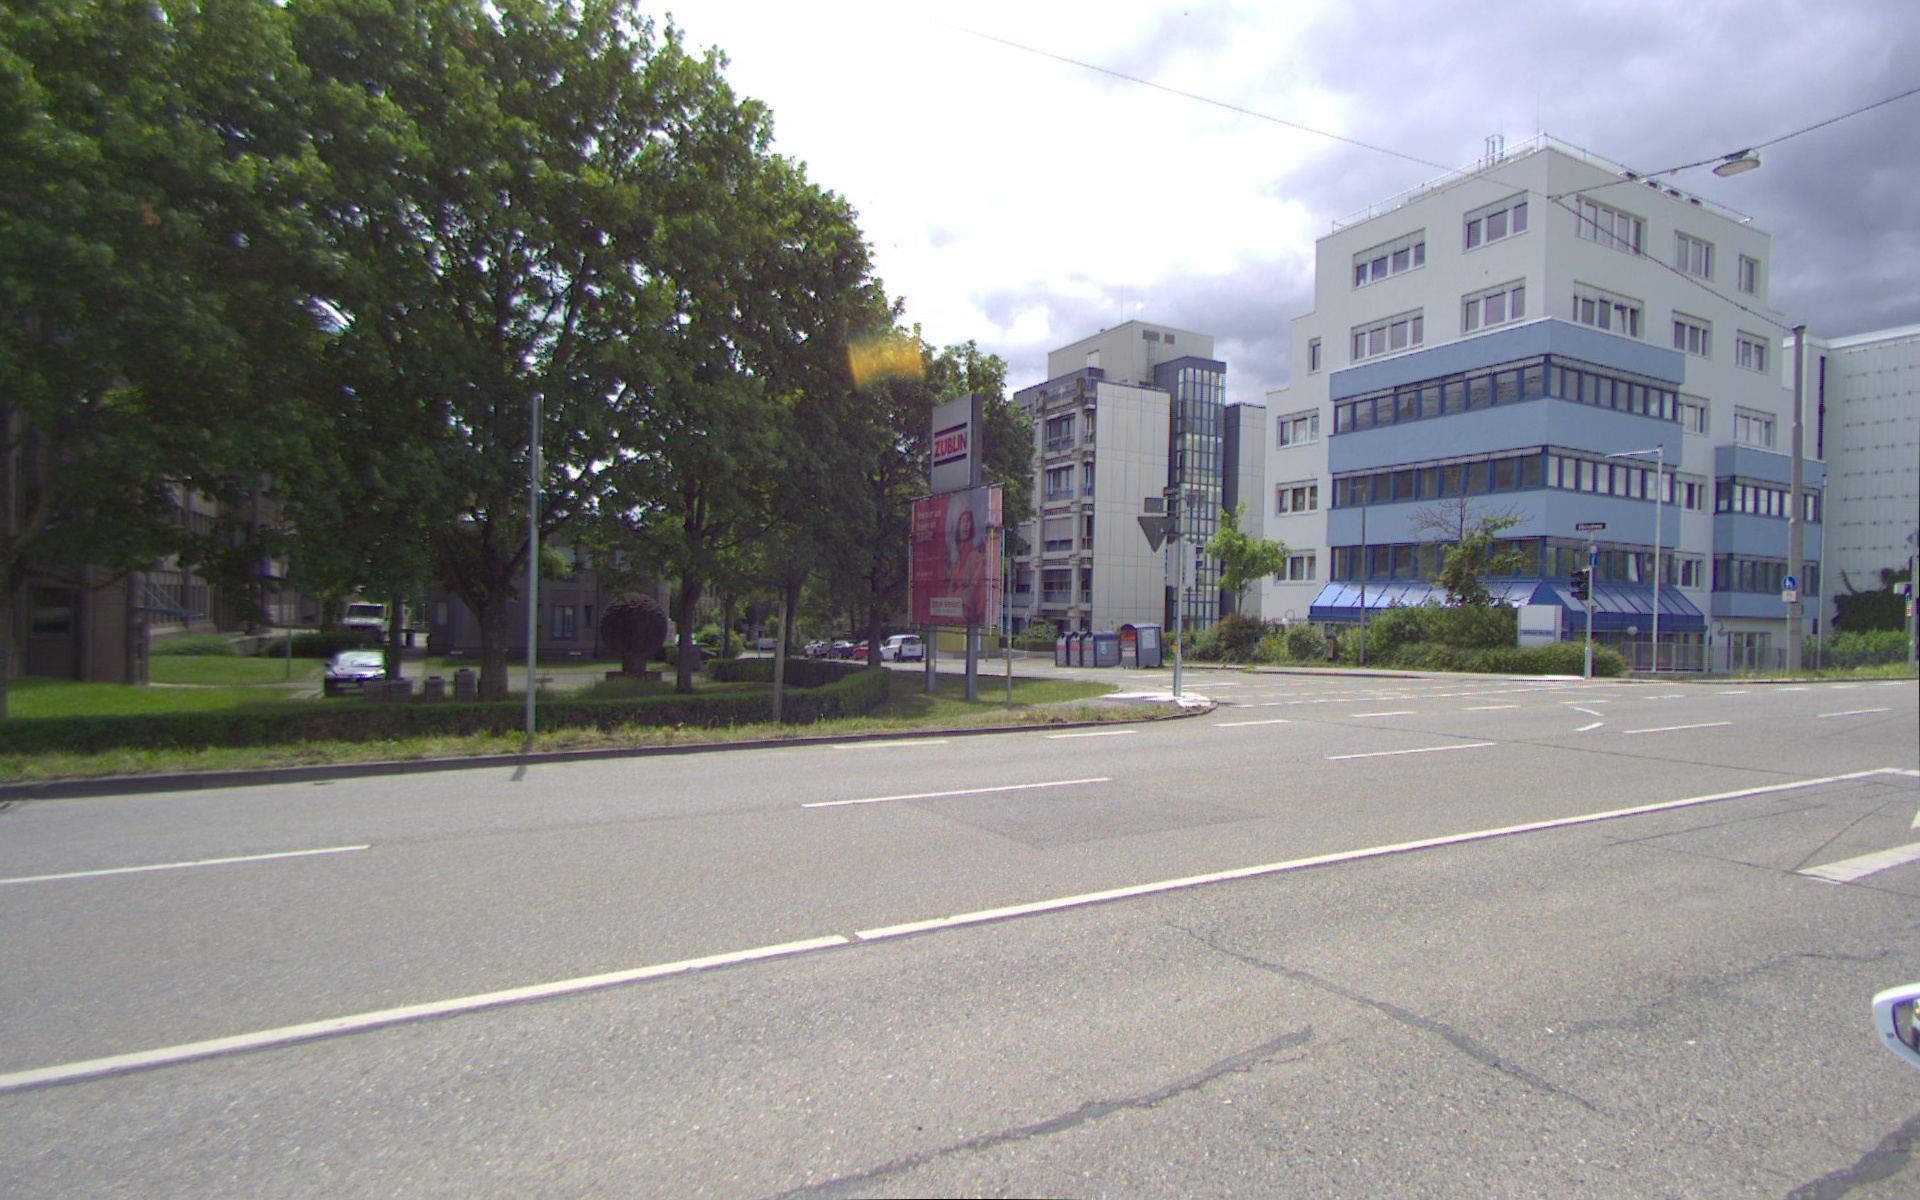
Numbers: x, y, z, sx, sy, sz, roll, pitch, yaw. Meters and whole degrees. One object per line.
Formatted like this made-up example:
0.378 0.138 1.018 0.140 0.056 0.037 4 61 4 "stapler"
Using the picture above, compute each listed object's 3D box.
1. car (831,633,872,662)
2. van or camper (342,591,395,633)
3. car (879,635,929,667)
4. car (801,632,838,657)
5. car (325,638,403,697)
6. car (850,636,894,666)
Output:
-8.376 3.608 77.131 1.848 2.040 3.973 2 -1 -26 "car"
-32.491 0.633 55.201 2.332 2.132 5.161 2 -1 -31 "van or camper"
-3.842 3.410 67.864 1.974 2.006 3.974 2 -1 -26 "car"
-11.663 3.669 83.108 1.875 1.919 3.973 2 -1 -26 "car"
-18.941 2.124 32.073 1.763 1.750 3.975 1 -3 -26 "car"
-6.424 3.684 72.919 1.868 2.040 3.974 2 -1 -26 "car"
